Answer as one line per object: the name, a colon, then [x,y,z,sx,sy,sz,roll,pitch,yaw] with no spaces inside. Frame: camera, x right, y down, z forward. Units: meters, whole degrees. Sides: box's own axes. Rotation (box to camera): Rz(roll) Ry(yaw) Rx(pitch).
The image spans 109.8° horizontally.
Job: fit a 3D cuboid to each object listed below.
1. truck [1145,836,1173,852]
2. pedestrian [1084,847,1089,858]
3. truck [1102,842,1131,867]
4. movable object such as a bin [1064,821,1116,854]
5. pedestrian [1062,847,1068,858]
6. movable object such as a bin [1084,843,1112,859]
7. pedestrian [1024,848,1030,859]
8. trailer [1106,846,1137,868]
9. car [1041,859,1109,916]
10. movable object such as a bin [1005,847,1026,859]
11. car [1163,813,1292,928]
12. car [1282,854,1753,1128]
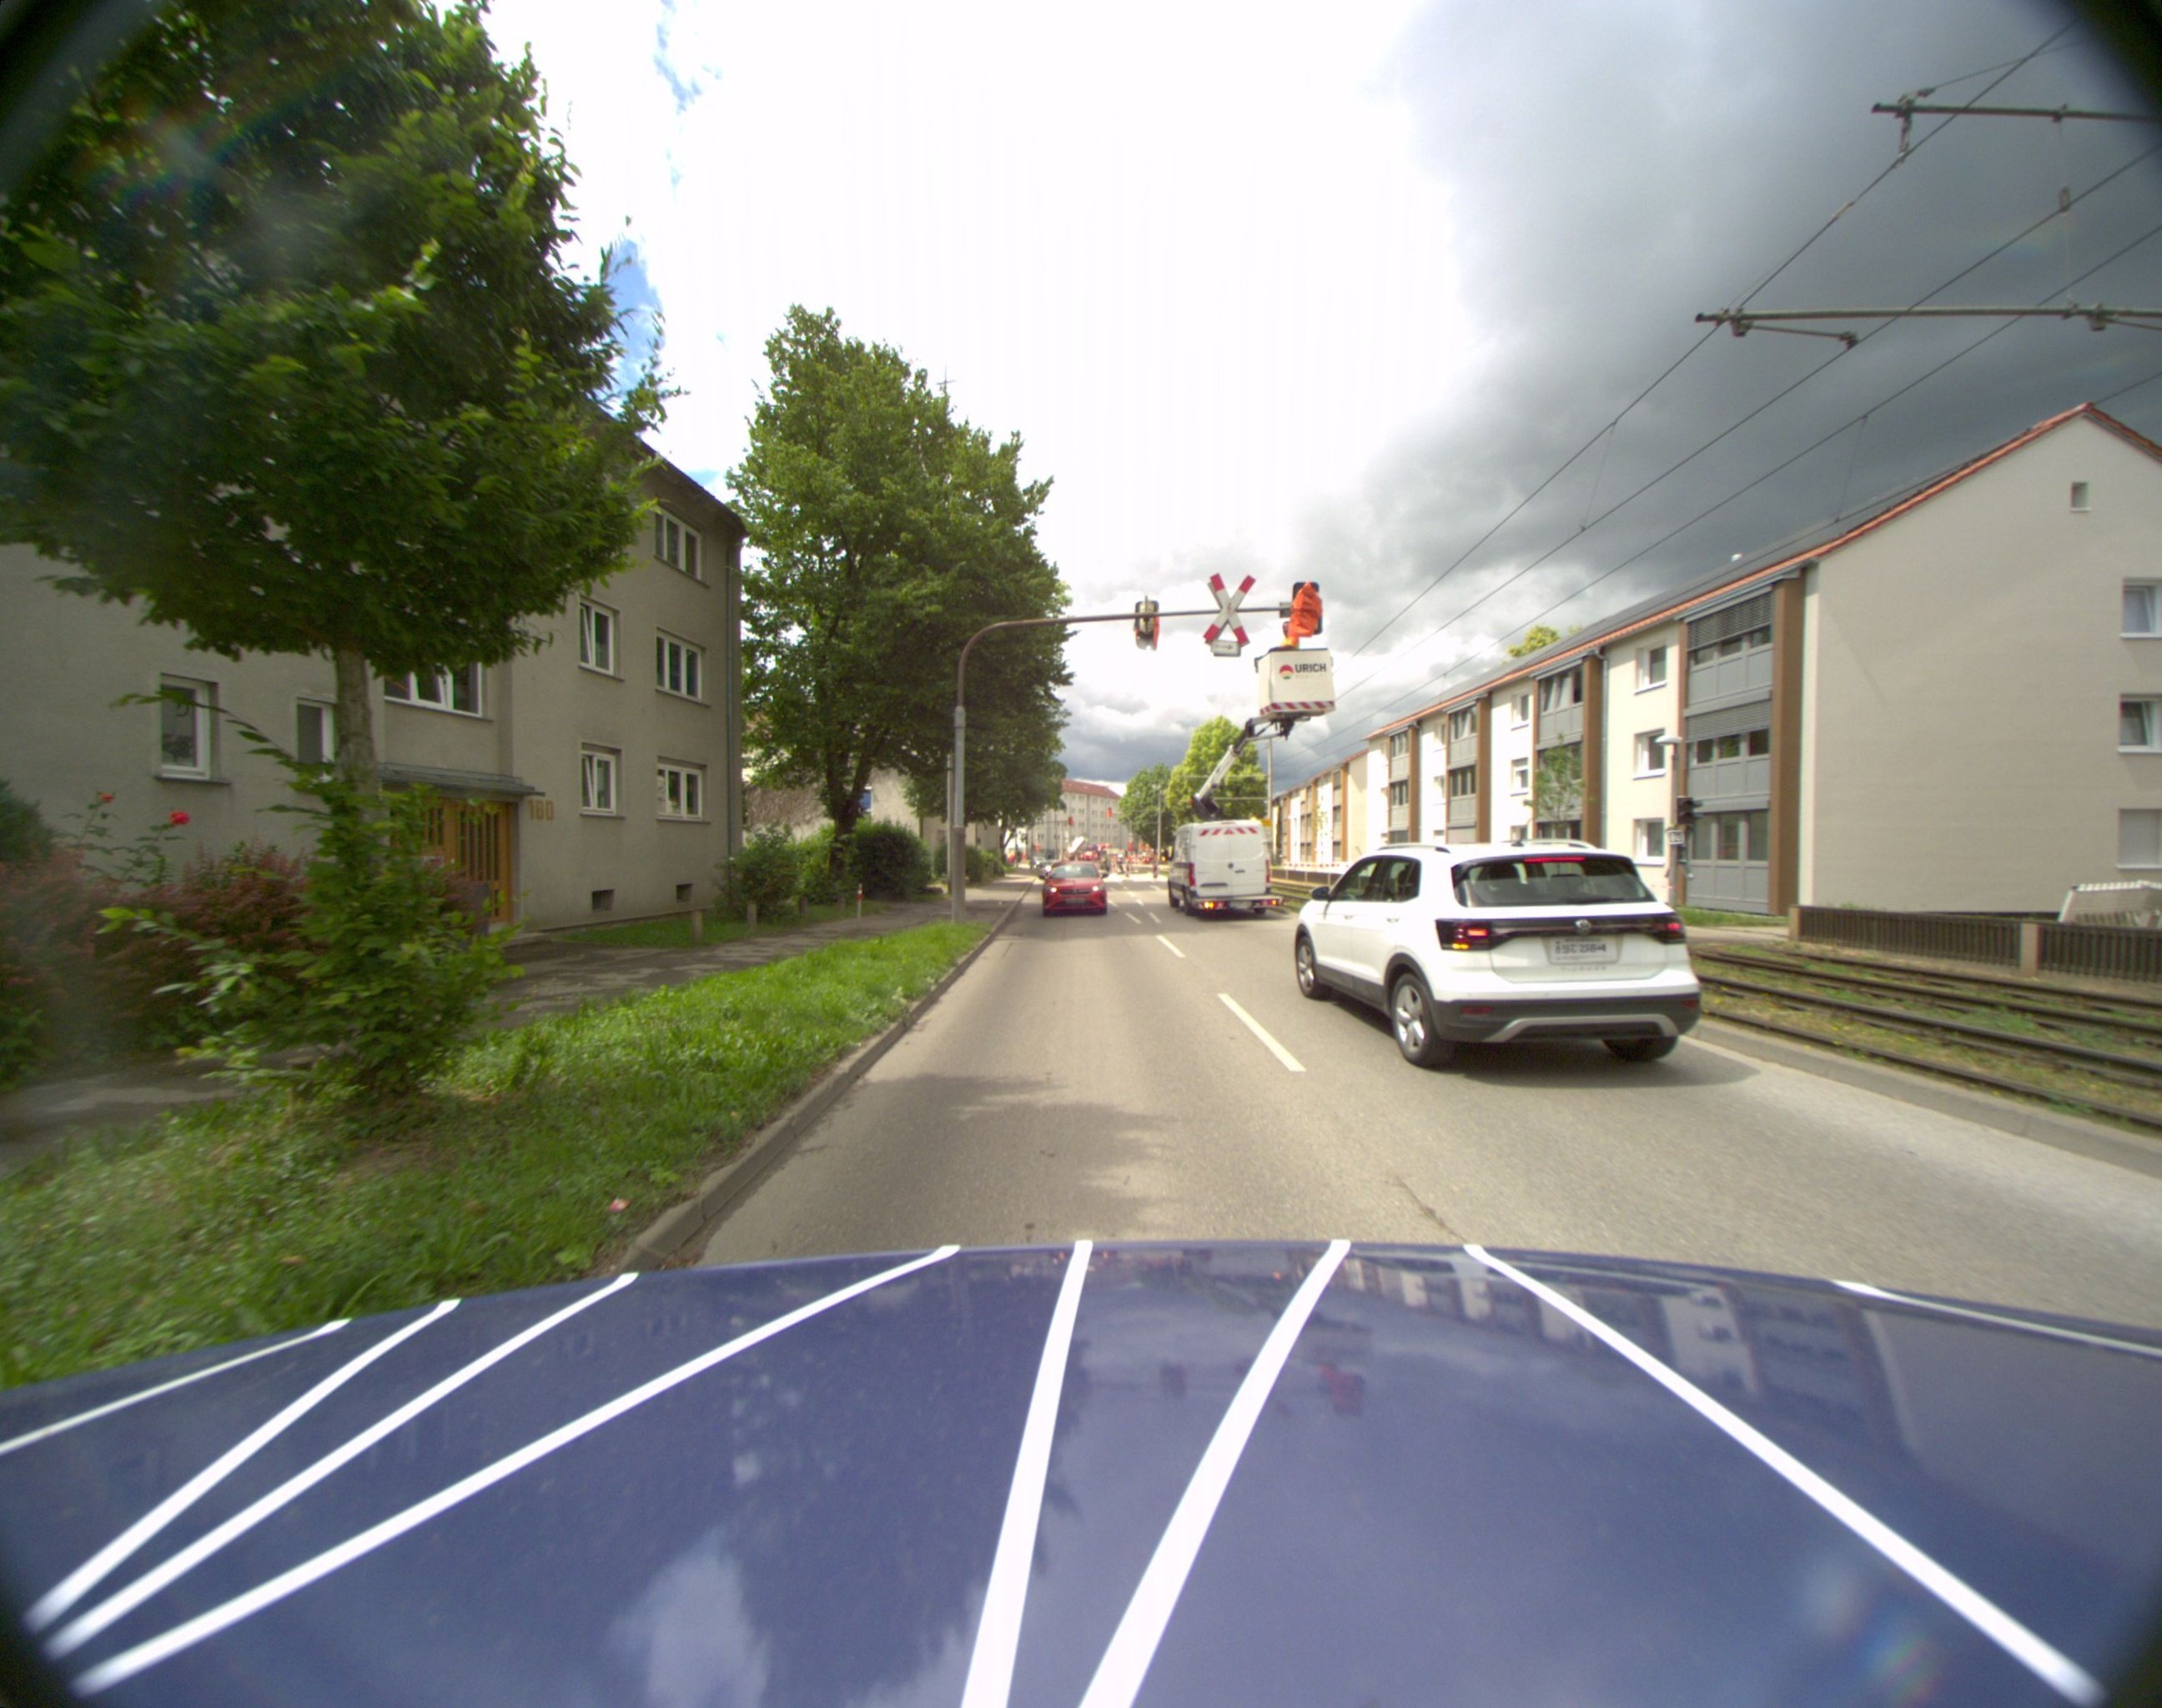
truck: [12.908,-1.629,125.146,2.412,2.553,5.594,1,1,31]
pedestrian: [0.925,-0.200,127.838,0.611,1.778,0.583,-1,0,29]
truck: [3.909,0.025,86.059,2.669,2.709,6.394,-1,0,-3]
movable object such as a bin: [1.596,-2.831,131.163,9.054,5.453,2.813,0,0,-36]
pedestrian: [-2.871,-0.227,136.092,0.882,1.897,0.665,-1,2,-30]
movable object such as a bin: [2.802,-0.512,126.097,2.110,2.653,5.598,1,2,32]
pedestrian: [-9.072,-0.111,128.277,0.767,1.828,0.785,0,1,24]
trailer: [4.190,0.289,79.759,2.669,2.201,6.246,-1,0,-3]
car: [-0.142,0.914,22.265,1.769,1.425,3.838,-2,0,1]
movable object such as a bin: [-11.162,-0.118,129.446,2.959,2.002,2.004,1,1,35]
car: [3.477,0.342,19.414,1.999,2.416,6.321,-1,0,0]
car: [3.084,0.804,6.415,1.722,1.543,3.917,-2,0,0]
